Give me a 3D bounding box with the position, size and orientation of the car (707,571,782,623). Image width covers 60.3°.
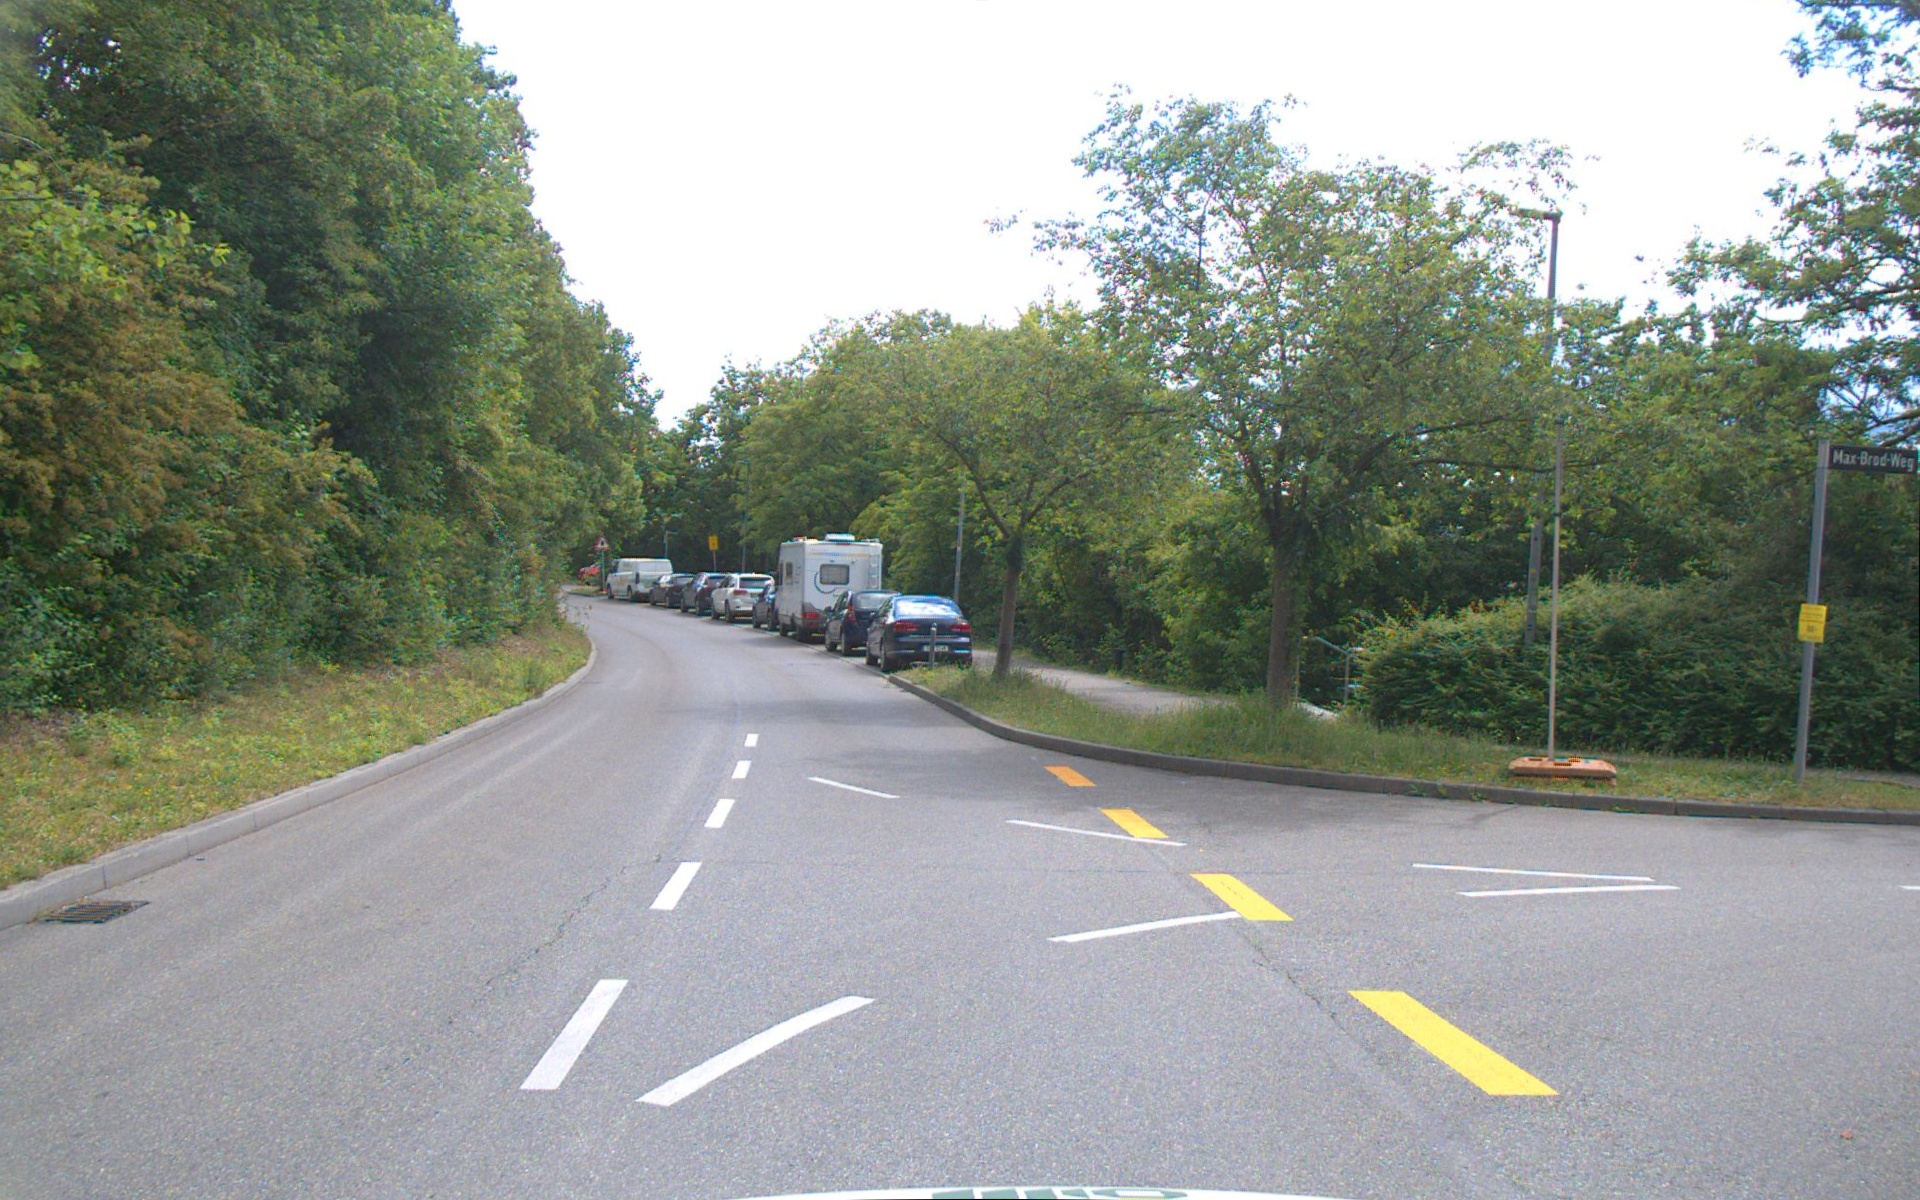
[{"bbox_3d":[-7.916,-0.144,60.429,1.843,1.718,4.556,2,1,-19],"label":"car"}]

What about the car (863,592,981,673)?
[{"bbox_3d":[-0.834,0.596,33.144,1.743,1.459,4.324,0,1,-10],"label":"car"}]

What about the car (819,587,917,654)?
[{"bbox_3d":[-2.282,0.487,40.201,1.699,1.545,3.875,0,0,-14],"label":"car"}]

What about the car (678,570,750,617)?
[{"bbox_3d":[-9.842,-0.289,65.898,1.965,1.654,4.252,-2,3,-21],"label":"car"}]

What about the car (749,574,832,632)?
[{"bbox_3d":[-5.527,0.055,53.552,1.686,1.618,3.979,-6,3,-19],"label":"car"}]

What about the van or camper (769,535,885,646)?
[{"bbox_3d":[-3.921,-0.299,47.608,2.293,2.919,6.128,2,1,-14],"label":"van or camper"}]

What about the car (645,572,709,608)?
[{"bbox_3d":[-12.368,-0.454,72.199,1.775,1.489,3.969,1,1,-25],"label":"car"}]

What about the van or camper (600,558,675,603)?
[{"bbox_3d":[-15.112,-0.951,77.316,1.971,1.953,5.217,-1,3,-28],"label":"van or camper"}]
